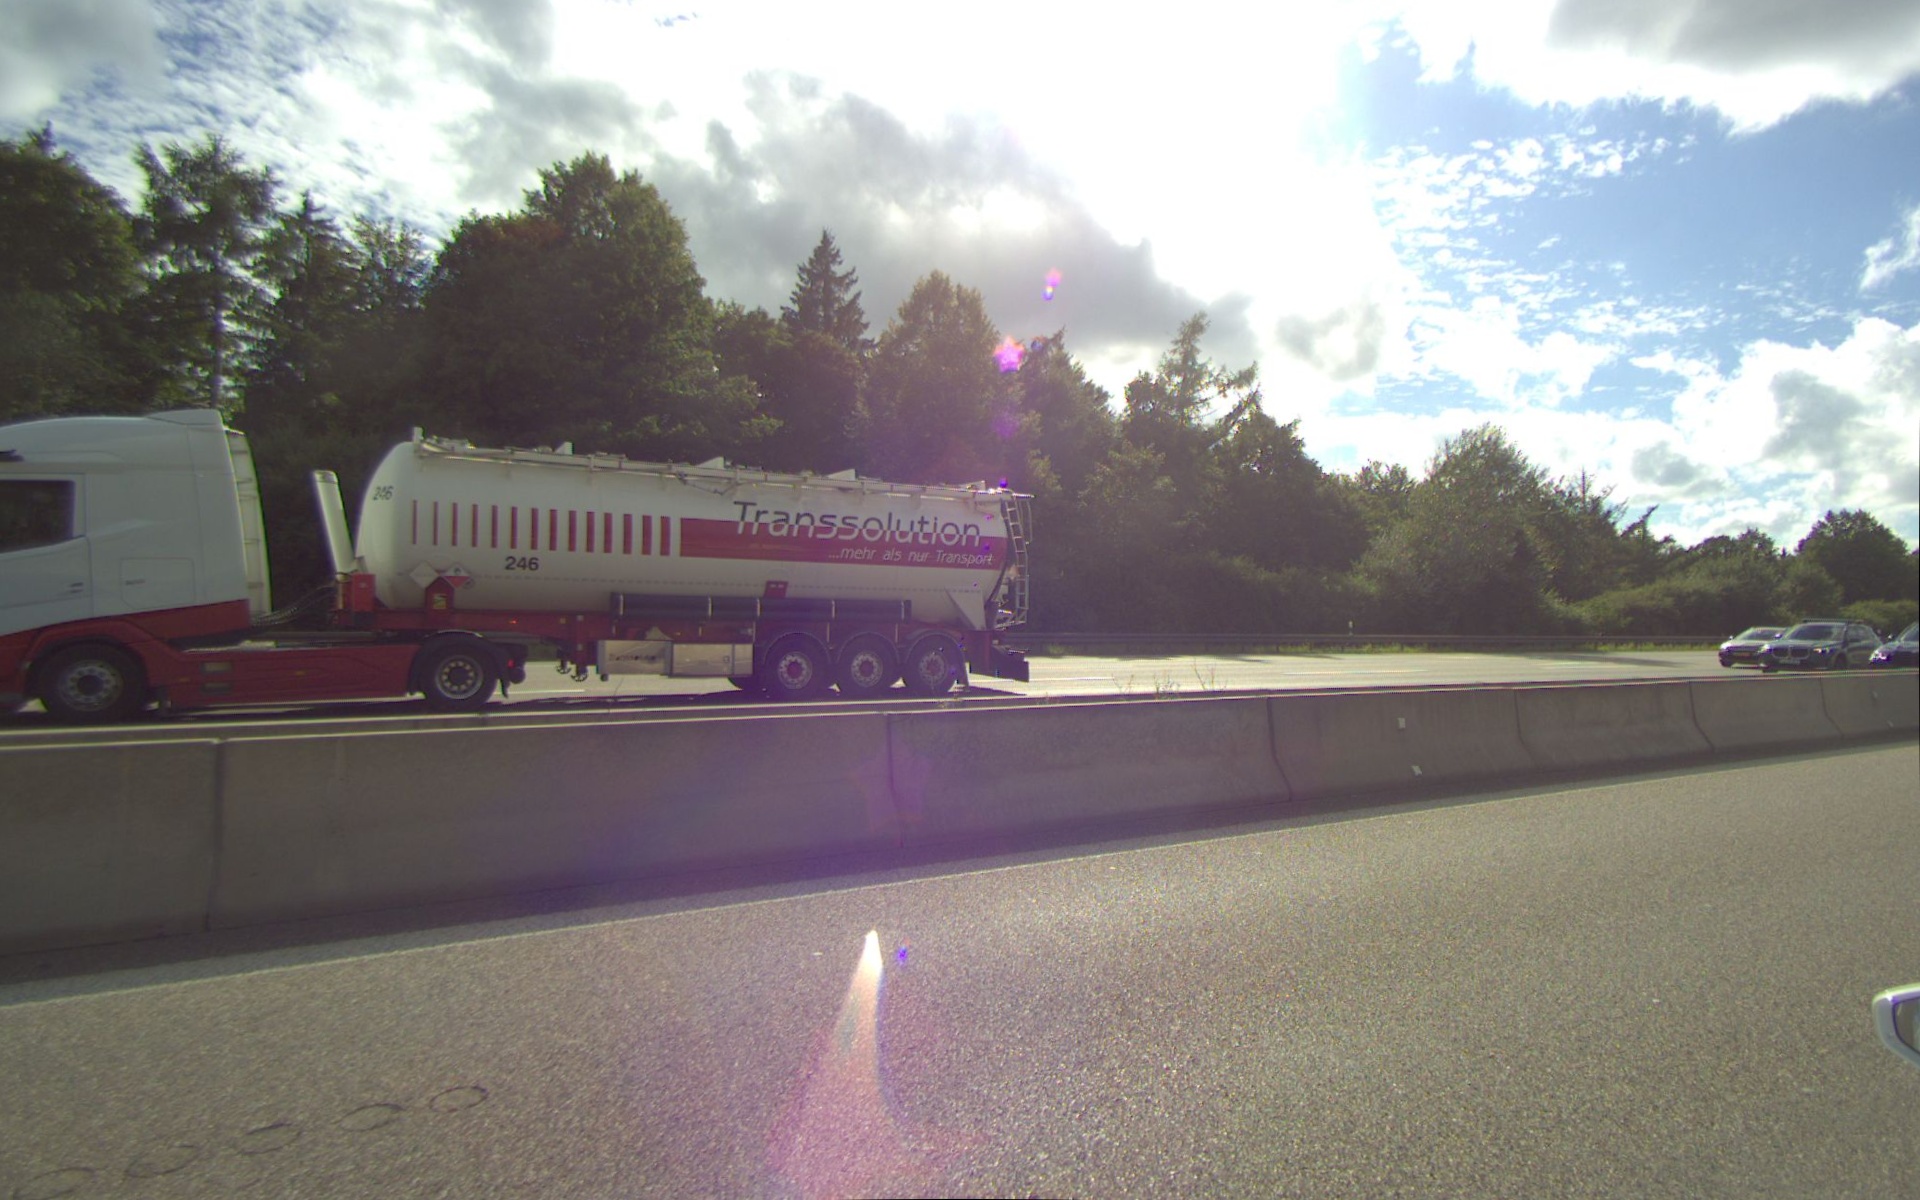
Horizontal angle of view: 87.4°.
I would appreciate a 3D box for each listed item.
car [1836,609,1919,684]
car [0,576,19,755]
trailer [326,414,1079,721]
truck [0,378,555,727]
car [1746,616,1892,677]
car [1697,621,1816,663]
[{"bbox_3d":[24.167,1.123,24.859,5.286,1.722,2.145,1,-1,-29],"label":"car"},{"bbox_3d":[-11.086,0.571,7.821,5.150,1.692,1.846,1,-1,-31],"label":"car"},{"bbox_3d":[-3.661,-0.306,17.330,12.107,3.998,2.775,1,-1,-30],"label":"trailer"},{"bbox_3d":[-9.295,-0.489,14.088,6.369,3.998,2.775,1,0,-30],"label":"truck"},{"bbox_3d":[25.844,1.355,30.197,4.633,1.686,1.984,1,-1,-31],"label":"car"},{"bbox_3d":[29.226,1.511,36.822,4.618,1.433,1.819,1,-1,-29],"label":"car"}]
